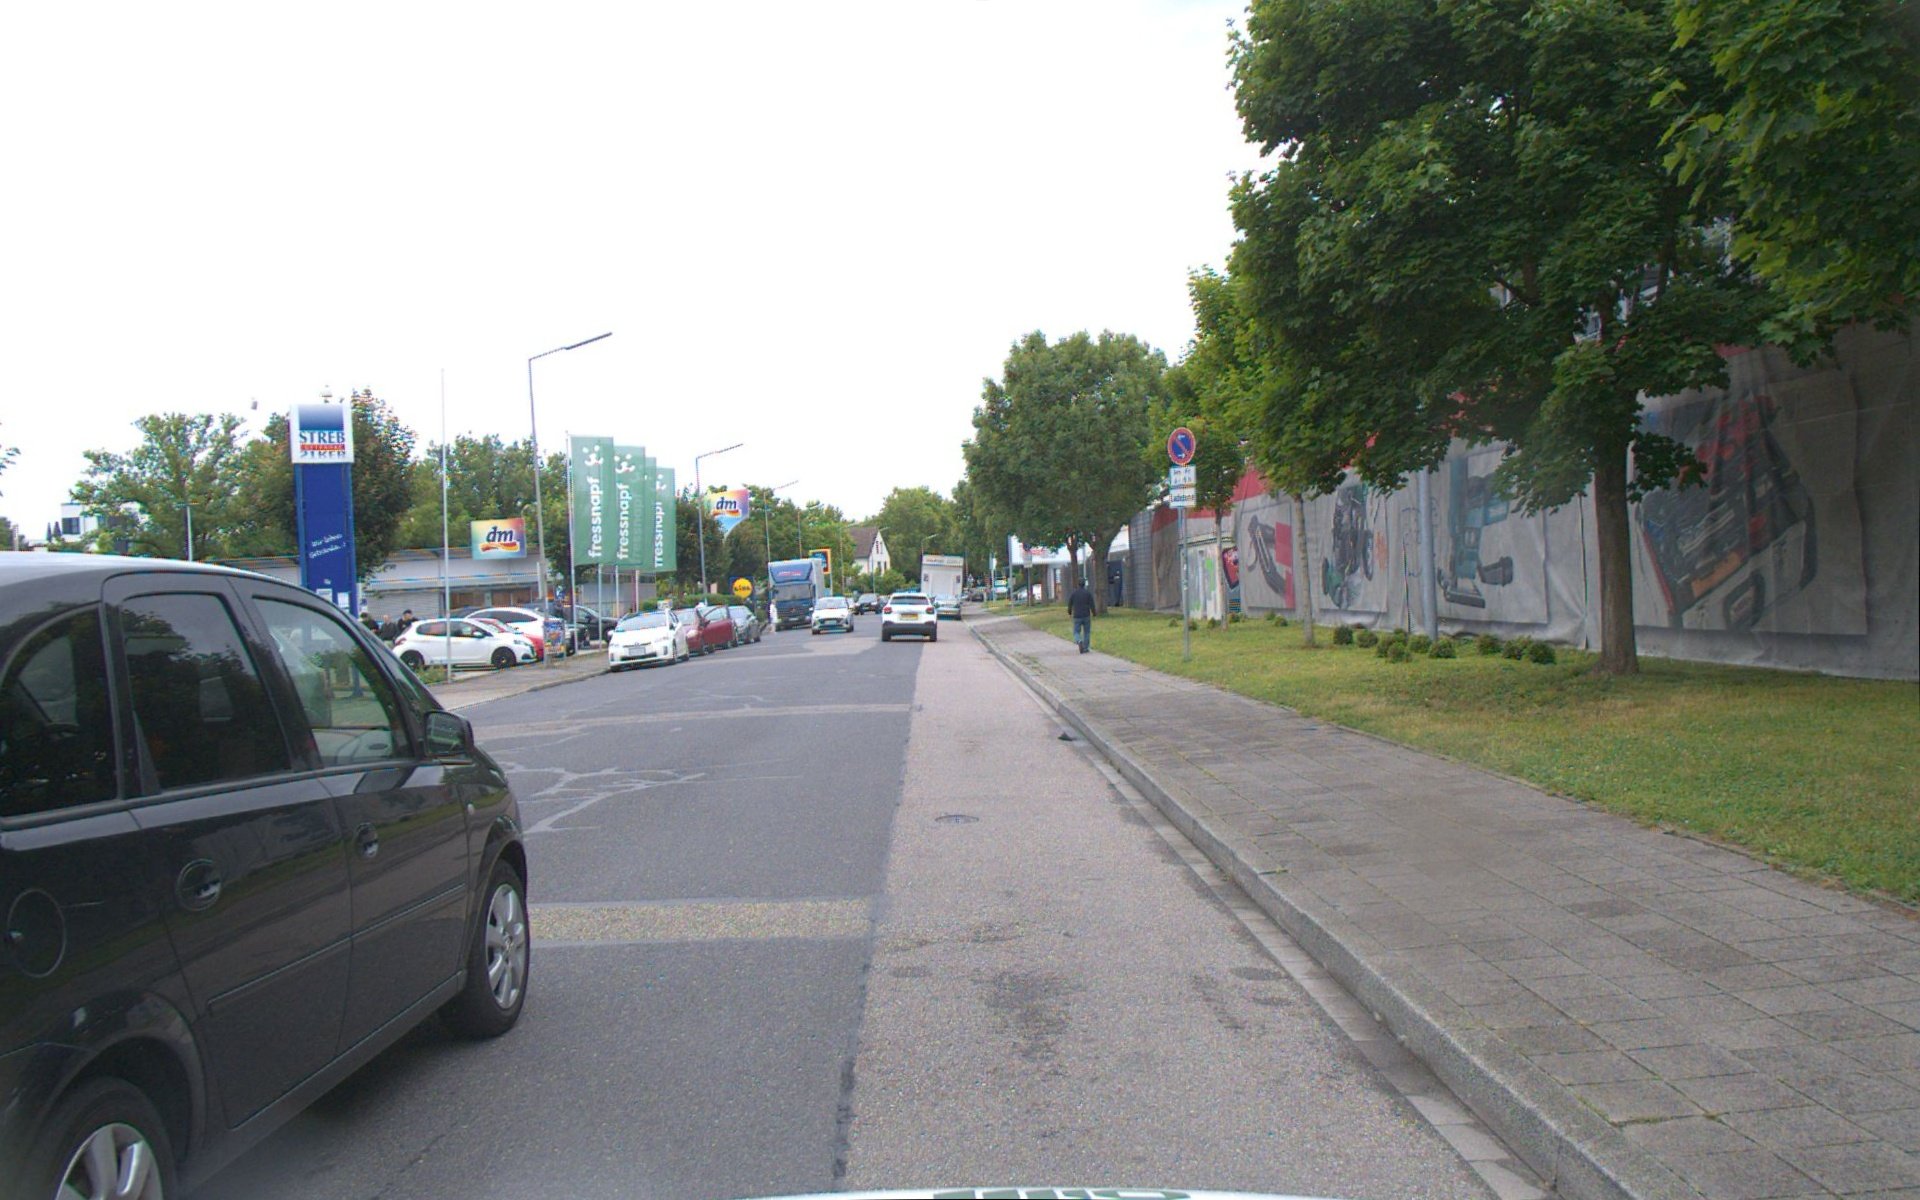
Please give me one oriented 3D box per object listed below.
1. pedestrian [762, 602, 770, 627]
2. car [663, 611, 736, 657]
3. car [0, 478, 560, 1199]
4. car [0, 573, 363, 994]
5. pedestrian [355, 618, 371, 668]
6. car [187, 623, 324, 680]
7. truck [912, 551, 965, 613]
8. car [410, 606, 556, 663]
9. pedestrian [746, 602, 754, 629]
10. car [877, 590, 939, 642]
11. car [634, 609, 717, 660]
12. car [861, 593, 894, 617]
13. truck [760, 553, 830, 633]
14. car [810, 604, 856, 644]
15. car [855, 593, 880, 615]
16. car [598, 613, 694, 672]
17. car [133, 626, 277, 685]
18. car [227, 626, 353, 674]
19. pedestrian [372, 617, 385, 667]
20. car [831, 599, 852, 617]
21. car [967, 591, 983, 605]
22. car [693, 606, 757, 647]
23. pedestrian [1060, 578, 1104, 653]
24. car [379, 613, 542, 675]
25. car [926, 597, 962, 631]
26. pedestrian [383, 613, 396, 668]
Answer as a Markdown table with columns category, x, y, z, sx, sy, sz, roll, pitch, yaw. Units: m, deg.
| category | x | y | z | sx | sy | sz | roll | pitch | yaw |
| --- | --- | --- | --- | --- | --- | --- | --- | --- | --- |
| pedestrian | -11.885 | 0.893 | 101.517 | 0.394 | 1.558 | 0.485 | -3 | 0 | -7 |
| car | -8.936 | 1.149 | 57.065 | 1.859 | 1.391 | 3.999 | -3 | 0 | -1 |
| car | -2.333 | 0.674 | 4.234 | 1.647 | 1.660 | 3.758 | -3 | 0 | -1 |
| car | -4.920 | 0.808 | 8.685 | 1.894 | 1.713 | 4.494 | -4 | 0 | -1 |
| pedestrian | -19.279 | 1.377 | 53.406 | 0.353 | 1.597 | 0.502 | -3 | 0 | -14 |
| car | -24.670 | 1.786 | 58.037 | 3.906 | 1.698 | 1.876 | -3 | 0 | -1 |
| truck | -1.456 | -1.071 | 105.063 | 3.072 | 3.647 | 10.045 | -2 | 0 | -2 |
| car | -14.949 | 1.064 | 52.043 | 4.057 | 1.488 | 1.896 | -3 | 0 | -7 |
| pedestrian | -12.289 | 0.916 | 96.649 | 0.394 | 1.558 | 0.484 | -3 | 0 | -7 |
| car | -1.636 | 0.486 | 53.396 | 1.848 | 1.558 | 4.254 | -1 | 0 | 0 |
| car | -8.815 | 1.047 | 51.554 | 1.859 | 1.391 | 3.999 | -3 | 0 | -1 |
| car | -5.307 | 0.320 | 106.607 | 1.899 | 1.390 | 3.999 | -4 | 0 | -1 |
| truck | -8.962 | -0.379 | 90.594 | 2.914 | 4.024 | 6.404 | -4 | 0 | 0 |
| car | -5.354 | 0.999 | 69.888 | 1.566 | 1.554 | 3.527 | -5 | 0 | 0 |
| car | -7.461 | 0.347 | 133.779 | 1.953 | 1.713 | 3.998 | -2 | 0 | -2 |
| car | -8.517 | 1.118 | 45.179 | 1.859 | 1.391 | 3.999 | -3 | 0 | -1 |
| car | -25.354 | 1.853 | 55.632 | 3.906 | 1.698 | 1.876 | -3 | 0 | -1 |
| car | -25.130 | 1.862 | 62.097 | 3.906 | 1.518 | 1.786 | -3 | 0 | 0 |
| pedestrian | -18.838 | 1.363 | 53.589 | 0.324 | 1.597 | 0.502 | -2 | 0 | -14 |
| car | -9.986 | 0.682 | 139.196 | 1.590 | 1.399 | 3.451 | -2 | 0 | -2 |
| car | 1.780 | -0.230 | 200.052 | 1.848 | 1.713 | 4.254 | -1 | 0 | 0 |
| car | -8.920 | 0.991 | 63.081 | 1.859 | 1.391 | 3.999 | -3 | 0 | -1 |
| pedestrian | 2.767 | 0.354 | 37.488 | 0.900 | 1.663 | 0.853 | -2 | -1 | 1 |
| car | -14.177 | 1.244 | 47.175 | 4.125 | 1.488 | 1.949 | -3 | 0 | -9 |
| car | -0.972 | 0.814 | 96.029 | 1.953 | 1.837 | 3.998 | -2 | 0 | -2 |
| pedestrian | -18.362 | 1.304 | 53.241 | 0.258 | 1.760 | 0.421 | -3 | 0 | -13 |
